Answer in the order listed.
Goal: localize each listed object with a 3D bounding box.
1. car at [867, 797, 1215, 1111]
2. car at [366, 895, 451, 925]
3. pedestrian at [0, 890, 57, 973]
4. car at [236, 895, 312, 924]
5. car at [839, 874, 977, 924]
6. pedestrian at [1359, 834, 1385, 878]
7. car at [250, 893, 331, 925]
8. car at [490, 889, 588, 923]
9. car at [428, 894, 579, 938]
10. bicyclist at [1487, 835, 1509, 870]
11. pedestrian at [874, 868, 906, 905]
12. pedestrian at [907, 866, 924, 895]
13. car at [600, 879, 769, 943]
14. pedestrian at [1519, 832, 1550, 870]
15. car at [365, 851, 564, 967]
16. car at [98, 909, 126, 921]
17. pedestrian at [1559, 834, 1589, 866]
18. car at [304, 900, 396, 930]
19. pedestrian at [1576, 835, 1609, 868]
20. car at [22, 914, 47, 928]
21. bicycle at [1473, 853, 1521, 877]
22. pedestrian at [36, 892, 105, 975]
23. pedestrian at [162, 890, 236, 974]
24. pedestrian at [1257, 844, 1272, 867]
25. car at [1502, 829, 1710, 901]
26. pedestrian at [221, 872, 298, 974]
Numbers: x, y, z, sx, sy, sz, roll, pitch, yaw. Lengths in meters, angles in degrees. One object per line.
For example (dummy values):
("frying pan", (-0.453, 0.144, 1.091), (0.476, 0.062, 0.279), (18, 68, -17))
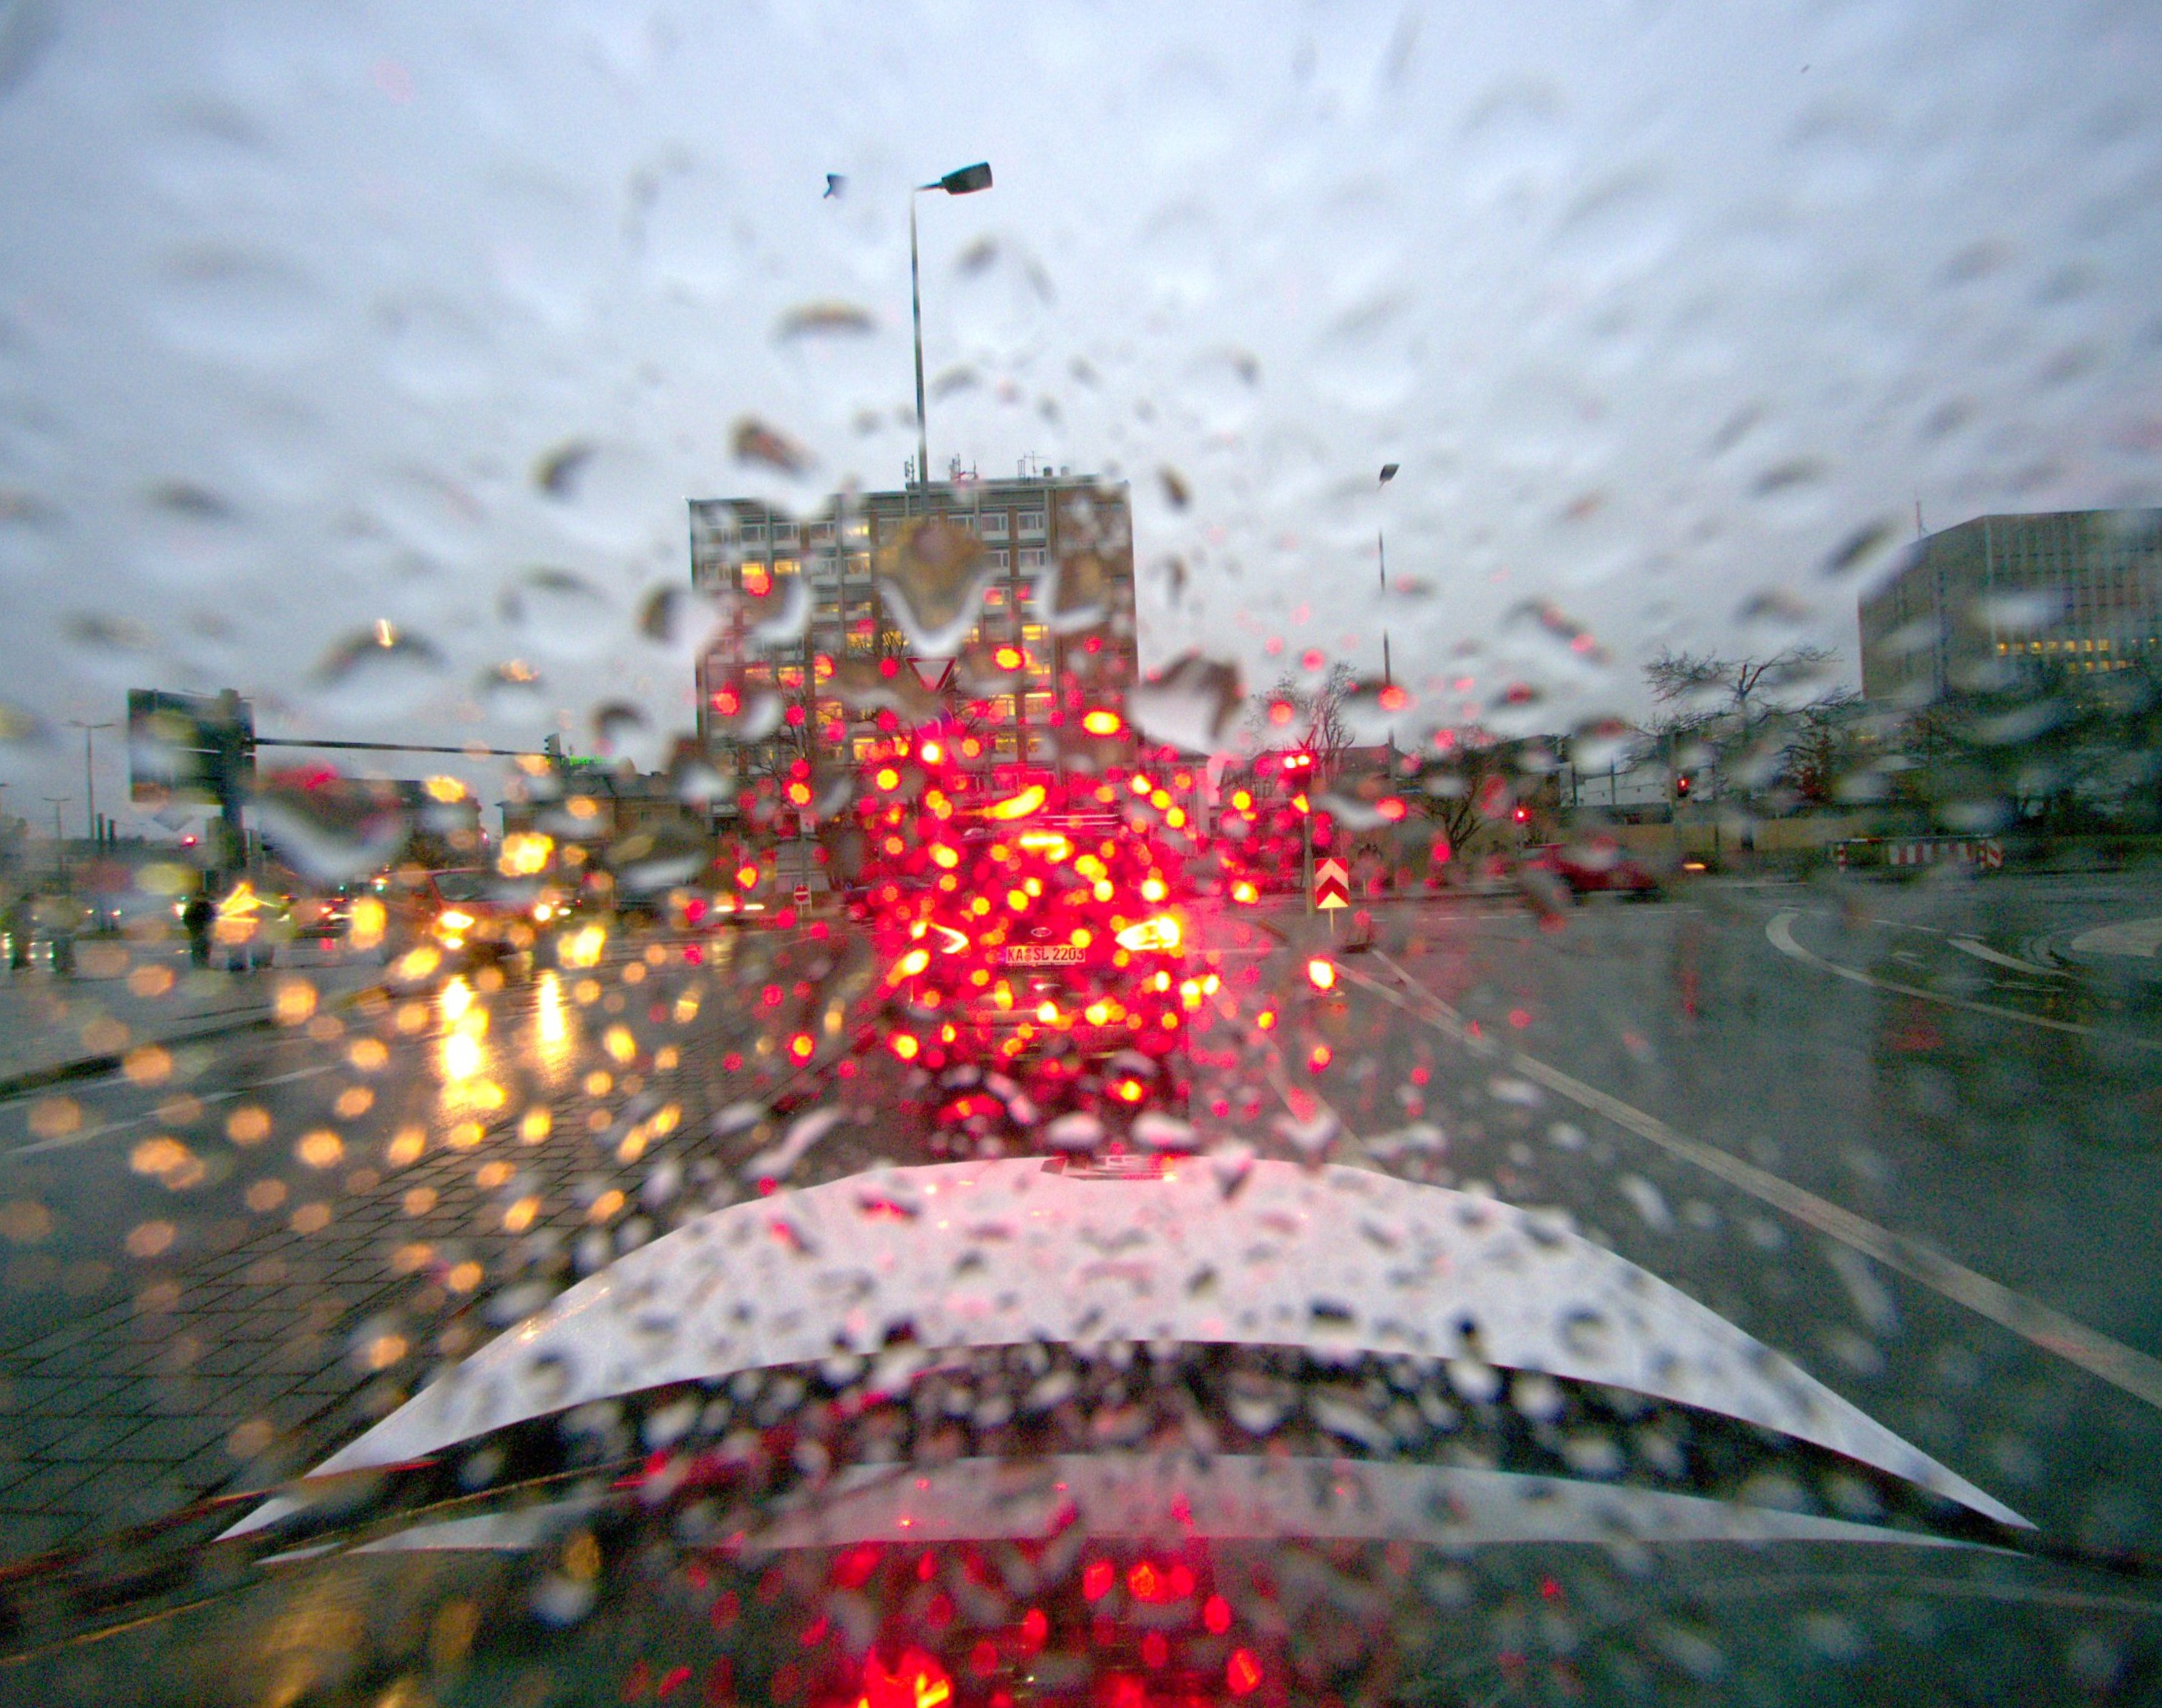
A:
("car", (-0.171, 0.593, 6.679), (1.986, 1.789, 4.001), (0, -1, 2))
("car", (-38.412, 3.185, 46.609), (1.496, 1.461, 3.453), (-1, -1, 31))
("pedestrian", (-23.707, 1.732, 18.244), (0.542, 1.770, 0.746), (-3, 0, 15))
("car", (-53.104, 3.627, 53.652), (1.505, 1.702, 3.411), (-1, -1, 39))
("car", (-5.325, 1.383, 25.179), (3.726, 1.302, 1.708), (-3, -1, 16))
("pedestrian", (14.535, 0.088, 40.715), (0.890, 2.113, 0.886), (-3, 0, 2))
("car", (-51.168, 3.543, 52.760), (1.649, 1.826, 3.609), (-1, -1, 39))
("car", (-27.014, 2.584, 40.634), (3.959, 1.568, 1.833), (-1, -1, 13))
("car", (-20.841, 2.229, 29.428), (4.647, 1.302, 1.947), (-3, -1, 17))
("bicyclist", (19.758, -0.066, 38.576), (0.681, 1.599, 0.661), (-3, 0, 7))
("pedestrian", (-10.108, 1.726, 43.182), (0.992, 1.842, 1.146), (-3, 2, 25))
("pedestrian", (-9.834, 1.580, 48.468), (0.634, 1.688, 0.640), (-3, 0, 18))
("car", (-11.400, 1.629, 23.520), (4.094, 1.582, 1.848), (-3, -1, 14))
("pedestrian", (22.530, -0.154, 40.479), (0.992, 1.799, 0.920), (-3, 0, 2))
("car", (-12.965, 1.121, 17.040), (4.583, 2.070, 1.943), (-4, 0, 35))
("car", (-140.538, 8.888, 118.174), (1.747, 1.509, 3.954), (-3, 0, -38))
("pedestrian", (24.496, -0.201, 40.453), (0.889, 1.533, 0.886), (-3, 0, 2))
("car", (-43.830, 3.633, 48.907), (1.582, 1.482, 3.840), (-1, -1, 31))
("pedestrian", (24.688, -0.104, 39.326), (0.921, 1.533, 1.043), (-3, 0, 2))
("car", (-128.572, 8.212, 100.074), (3.948, 1.509, 1.750), (-3, 0, 39))
("bicycle", (19.698, 0.523, 38.586), (1.873, 1.048, 0.661), (-3, 0, 7))
("pedestrian", (-23.473, 1.838, 18.921), (0.669, 1.838, 0.738), (-3, 0, 16))
("pedestrian", (-19.551, 1.712, 18.064), (0.653, 1.755, 0.856), (-3, 0, 18))
("pedestrian", (13.086, 0.109, 57.940), (0.712, 1.628, 0.767), (-3, 0, 34))
("car", (13.435, 0.299, 21.093), (4.098, 1.582, 1.846), (-3, -1, 10))
("pedestrian", (-17.338, 1.427, 17.212), (0.996, 2.021, 0.792), (-3, 0, -39))
